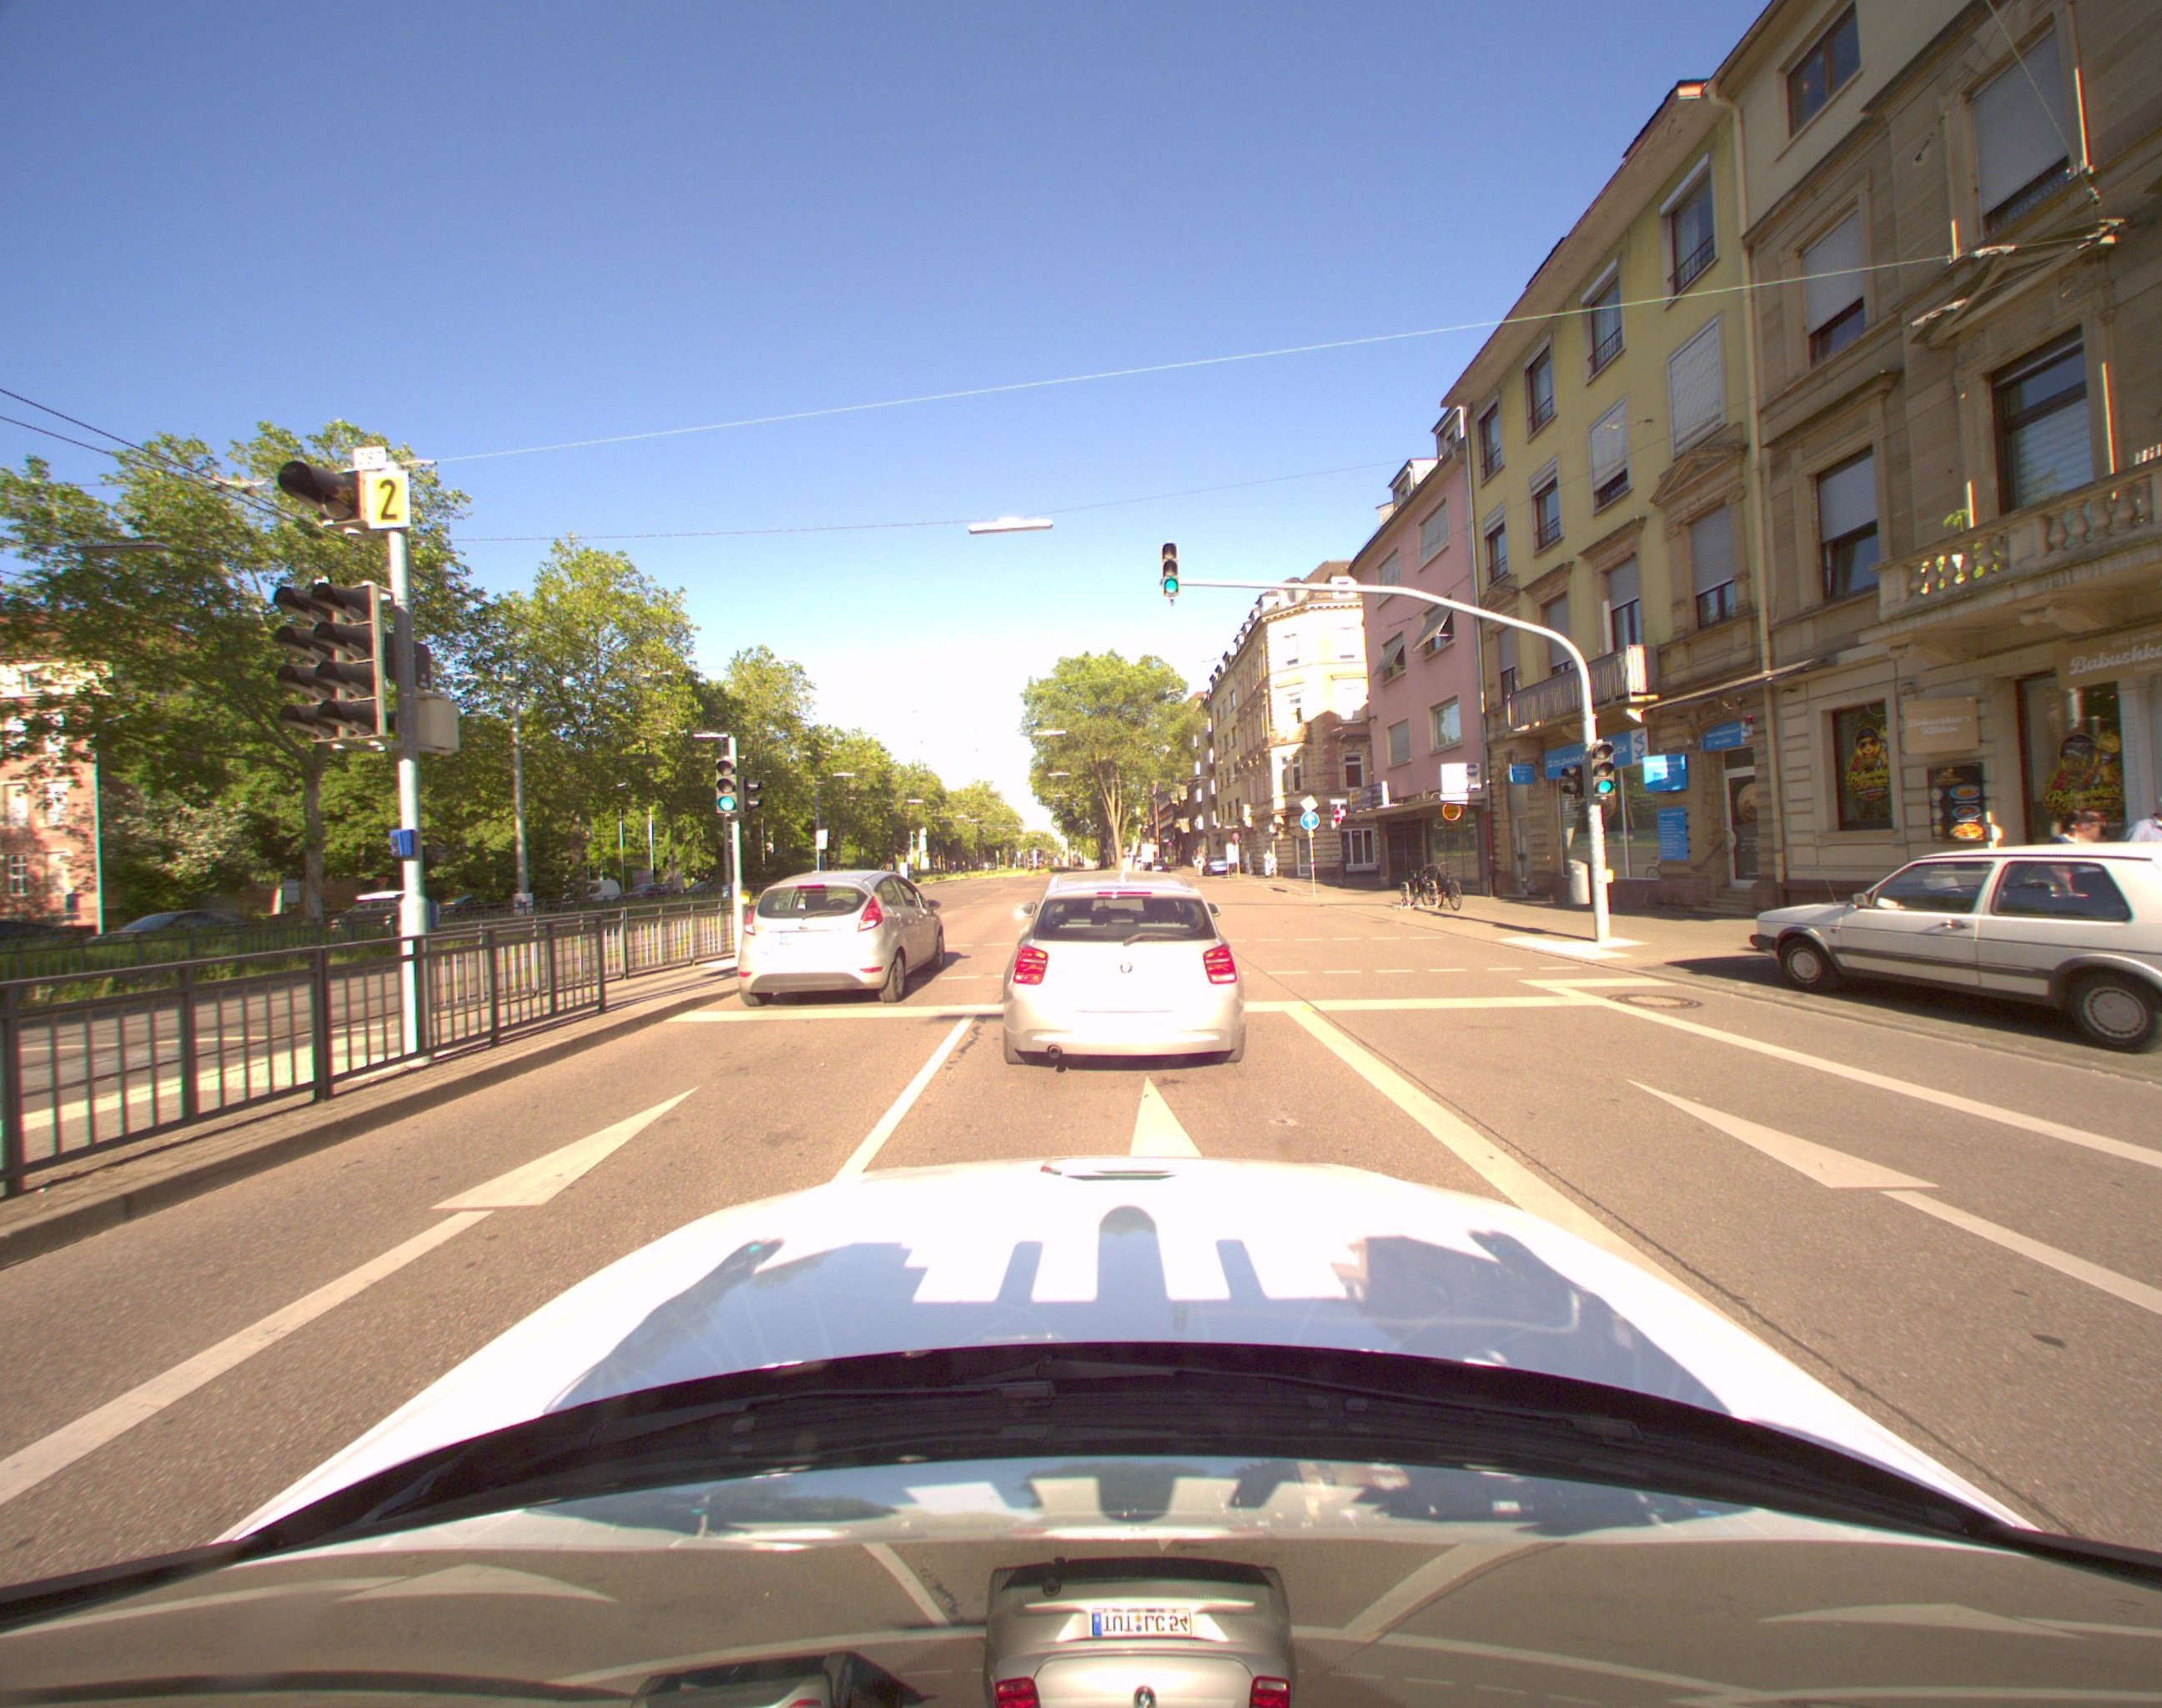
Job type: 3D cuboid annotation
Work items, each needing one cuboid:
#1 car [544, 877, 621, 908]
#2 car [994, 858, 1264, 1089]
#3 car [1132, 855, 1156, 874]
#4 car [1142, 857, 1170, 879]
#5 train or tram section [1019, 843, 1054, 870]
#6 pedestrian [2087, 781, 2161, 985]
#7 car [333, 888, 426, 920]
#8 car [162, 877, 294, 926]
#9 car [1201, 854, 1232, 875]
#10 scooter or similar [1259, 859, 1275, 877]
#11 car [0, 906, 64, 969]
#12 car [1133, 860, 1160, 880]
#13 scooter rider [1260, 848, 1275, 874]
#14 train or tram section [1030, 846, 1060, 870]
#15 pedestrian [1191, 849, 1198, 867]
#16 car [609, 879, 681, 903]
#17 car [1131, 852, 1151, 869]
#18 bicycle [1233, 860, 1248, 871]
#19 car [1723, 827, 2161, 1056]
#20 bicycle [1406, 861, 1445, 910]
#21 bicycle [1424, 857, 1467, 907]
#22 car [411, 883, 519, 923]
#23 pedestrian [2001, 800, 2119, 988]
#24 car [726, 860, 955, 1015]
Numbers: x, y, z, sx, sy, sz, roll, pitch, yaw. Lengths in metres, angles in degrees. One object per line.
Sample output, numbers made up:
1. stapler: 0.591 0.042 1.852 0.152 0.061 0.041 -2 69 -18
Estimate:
1. car: -27.914 2.137 45.762 1.664 1.509 4.145 -2 0 0
2. car: 0.369 0.789 7.289 1.733 1.467 4.001 -1 0 1
3. car: 5.085 0.855 66.244 1.719 1.507 3.555 -1 0 0
4. car: 5.058 0.909 55.067 1.728 1.433 3.680 -1 0 3
5. train or tram section: -6.774 0.430 127.563 3.954 3.866 17.495 -2 0 2
6. pedestrian: 9.862 0.240 7.392 0.670 1.806 0.531 -4 -1 1
7. car: -38.117 2.693 44.268 3.968 1.494 1.395 -2 0 5
8. car: -40.563 2.211 38.878 1.986 2.013 4.001 -2 0 2
9. car: 10.103 0.761 60.782 1.729 1.519 3.637 -1 0 1
10. scooter or similar: 10.926 0.823 47.826 0.338 0.988 1.277 -2 0 -16
11. car: -27.987 2.177 19.630 1.664 1.509 4.145 -2 0 0
12. car: 4.823 1.171 60.648 1.738 1.433 3.555 -1 0 0
13. scooter rider: 10.946 0.415 47.830 0.466 1.505 0.807 -2 0 -15
14. train or tram section: -6.238 0.720 145.062 3.990 3.866 17.495 -2 0 2
15. pedestrian: 11.850 0.414 85.167 0.503 1.802 0.806 -3 0 1
16. car: -27.679 2.337 51.907 1.929 1.349 4.848 -2 -1 0
17. car: 5.770 0.620 78.985 1.719 1.507 3.555 -1 0 0
18. bicycle: 11.961 0.888 61.073 0.752 0.770 1.945 -2 0 0
19. car: 7.929 0.565 7.048 1.557 1.415 4.005 -6 0 2
20. bicycle: 8.511 0.755 20.184 0.411 1.141 1.813 -2 0 8
21. bicycle: 9.006 0.676 20.170 0.446 1.159 1.762 -2 0 7
22. car: -27.779 2.172 36.903 1.664 1.509 4.145 -3 0 0
23. pedestrian: 9.244 0.368 7.704 0.547 1.708 0.389 -3 -1 4
24. car: -2.718 0.851 10.119 1.604 1.467 3.890 -2 0 0
